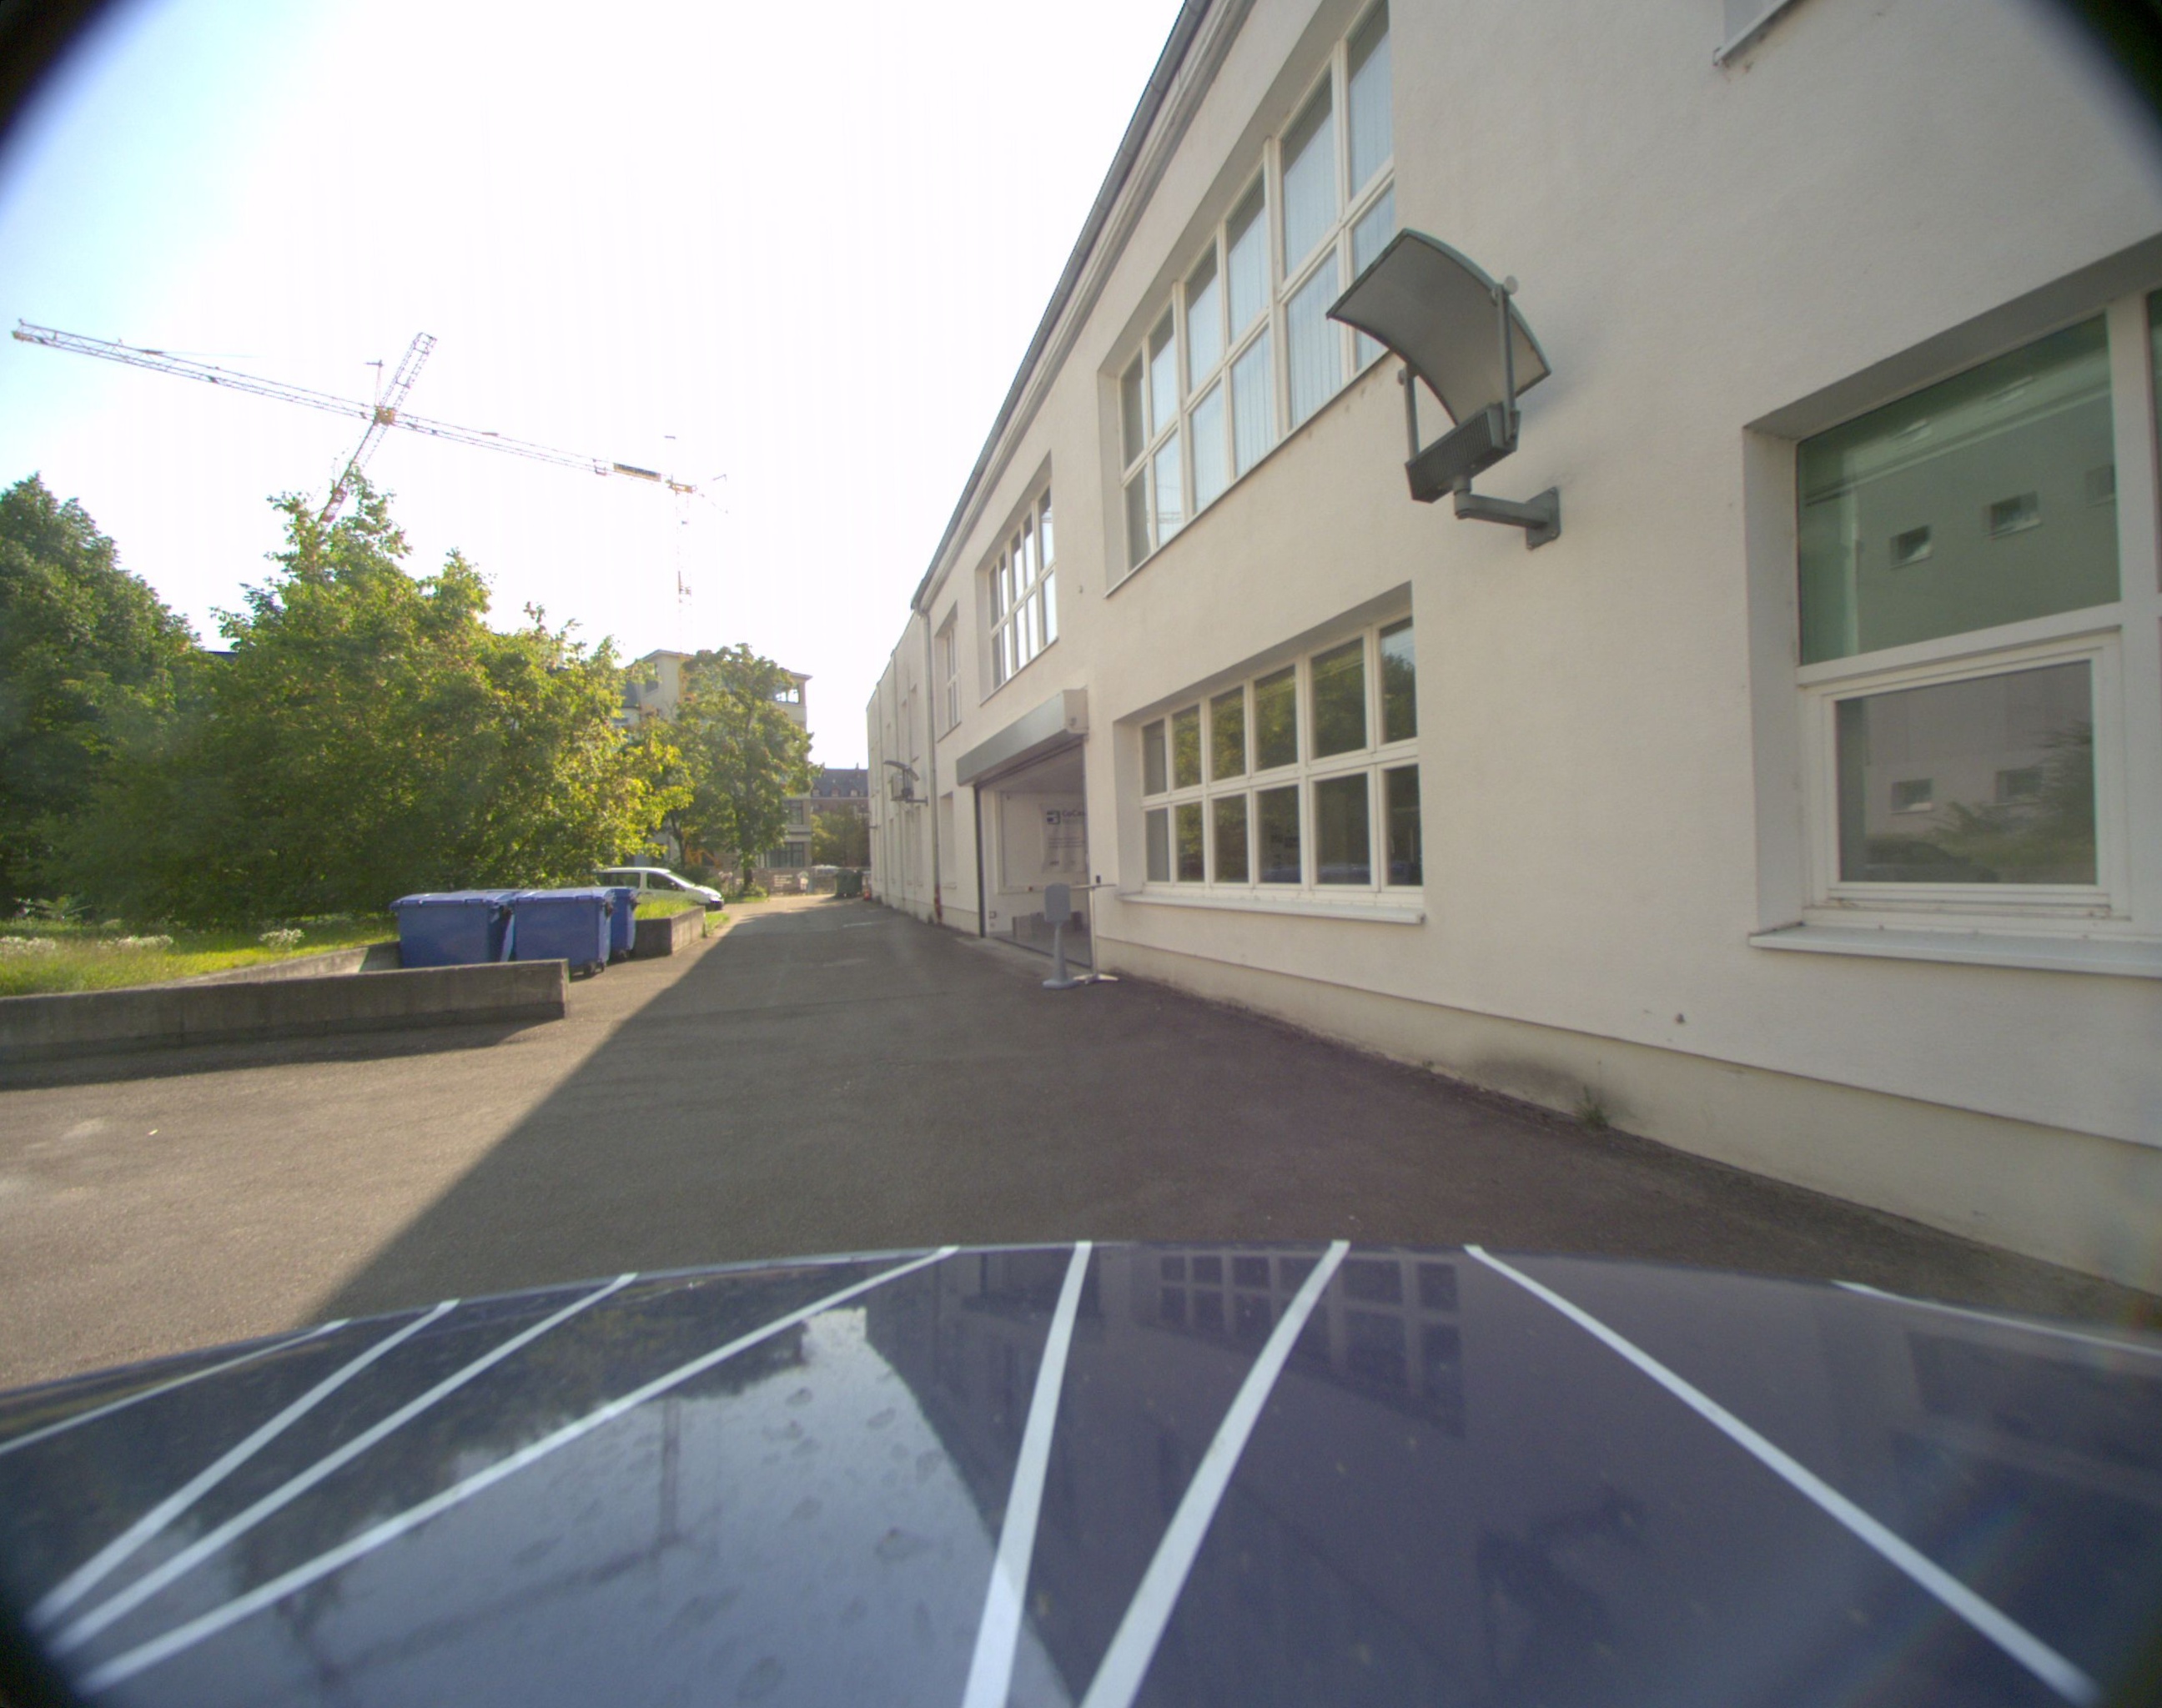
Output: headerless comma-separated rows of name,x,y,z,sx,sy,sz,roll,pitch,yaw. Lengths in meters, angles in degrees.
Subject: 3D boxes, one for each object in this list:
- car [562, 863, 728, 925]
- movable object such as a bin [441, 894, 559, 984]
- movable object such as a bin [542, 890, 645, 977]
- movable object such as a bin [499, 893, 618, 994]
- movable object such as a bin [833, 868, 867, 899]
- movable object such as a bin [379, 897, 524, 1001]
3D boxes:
car,-15.349,1.369,27.085,4.797,1.920,1.906,-2,0,-18
movable object such as a bin,-9.716,1.381,12.783,1.201,1.320,1.273,-2,0,-20
movable object such as a bin,-8.448,1.343,13.252,1.201,1.320,1.273,-2,0,-20
movable object such as a bin,-7.985,1.326,11.716,1.215,1.343,1.273,-2,0,-22
movable object such as a bin,-11.718,1.465,38.538,1.527,1.457,1.273,-2,0,-20
movable object such as a bin,-9.272,1.361,11.292,1.259,1.320,1.273,-2,0,-20
